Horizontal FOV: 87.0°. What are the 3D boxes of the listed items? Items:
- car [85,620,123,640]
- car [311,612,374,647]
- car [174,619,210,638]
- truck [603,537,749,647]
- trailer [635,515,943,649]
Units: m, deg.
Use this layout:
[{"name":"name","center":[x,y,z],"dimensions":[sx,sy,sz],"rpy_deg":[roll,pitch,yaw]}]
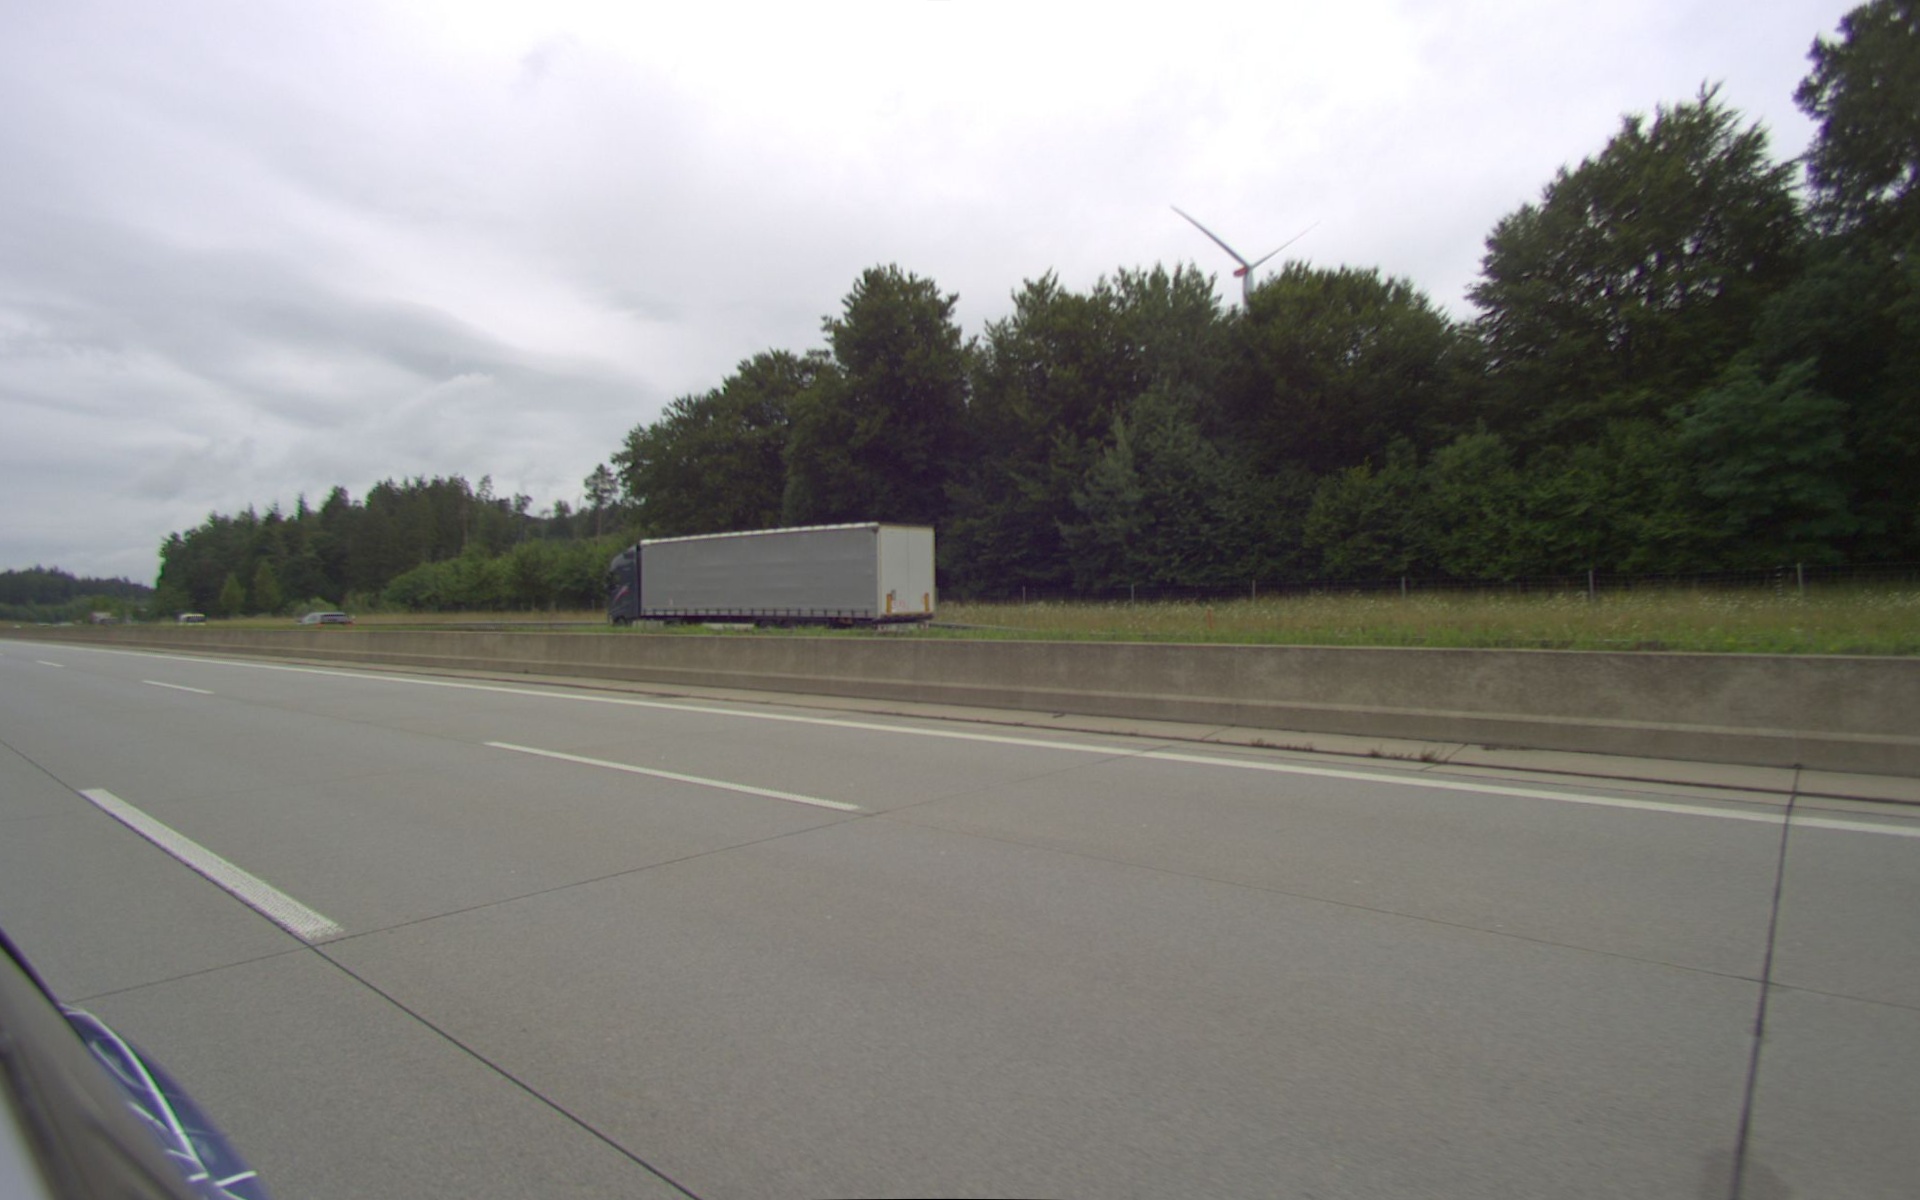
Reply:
[{"name":"car","center":[-74.412,2.569,87.954],"dimensions":[3.999,1.641,1.972],"rpy_deg":[-1,0,42]},{"name":"car","center":[-30.569,1.450,50.056],"dimensions":[3.593,1.645,1.671],"rpy_deg":[-1,0,41]},{"name":"car","center":[-71.711,2.677,94.480],"dimensions":[4.151,1.641,1.972],"rpy_deg":[-2,-1,42]},{"name":"truck","center":[-11.484,-0.261,40.647],"dimensions":[6.082,4.058,2.774],"rpy_deg":[-2,0,42]},{"name":"trailer","center":[-6.693,-0.403,36.374],"dimensions":[13.983,4.050,2.781],"rpy_deg":[-2,-1,42]}]
